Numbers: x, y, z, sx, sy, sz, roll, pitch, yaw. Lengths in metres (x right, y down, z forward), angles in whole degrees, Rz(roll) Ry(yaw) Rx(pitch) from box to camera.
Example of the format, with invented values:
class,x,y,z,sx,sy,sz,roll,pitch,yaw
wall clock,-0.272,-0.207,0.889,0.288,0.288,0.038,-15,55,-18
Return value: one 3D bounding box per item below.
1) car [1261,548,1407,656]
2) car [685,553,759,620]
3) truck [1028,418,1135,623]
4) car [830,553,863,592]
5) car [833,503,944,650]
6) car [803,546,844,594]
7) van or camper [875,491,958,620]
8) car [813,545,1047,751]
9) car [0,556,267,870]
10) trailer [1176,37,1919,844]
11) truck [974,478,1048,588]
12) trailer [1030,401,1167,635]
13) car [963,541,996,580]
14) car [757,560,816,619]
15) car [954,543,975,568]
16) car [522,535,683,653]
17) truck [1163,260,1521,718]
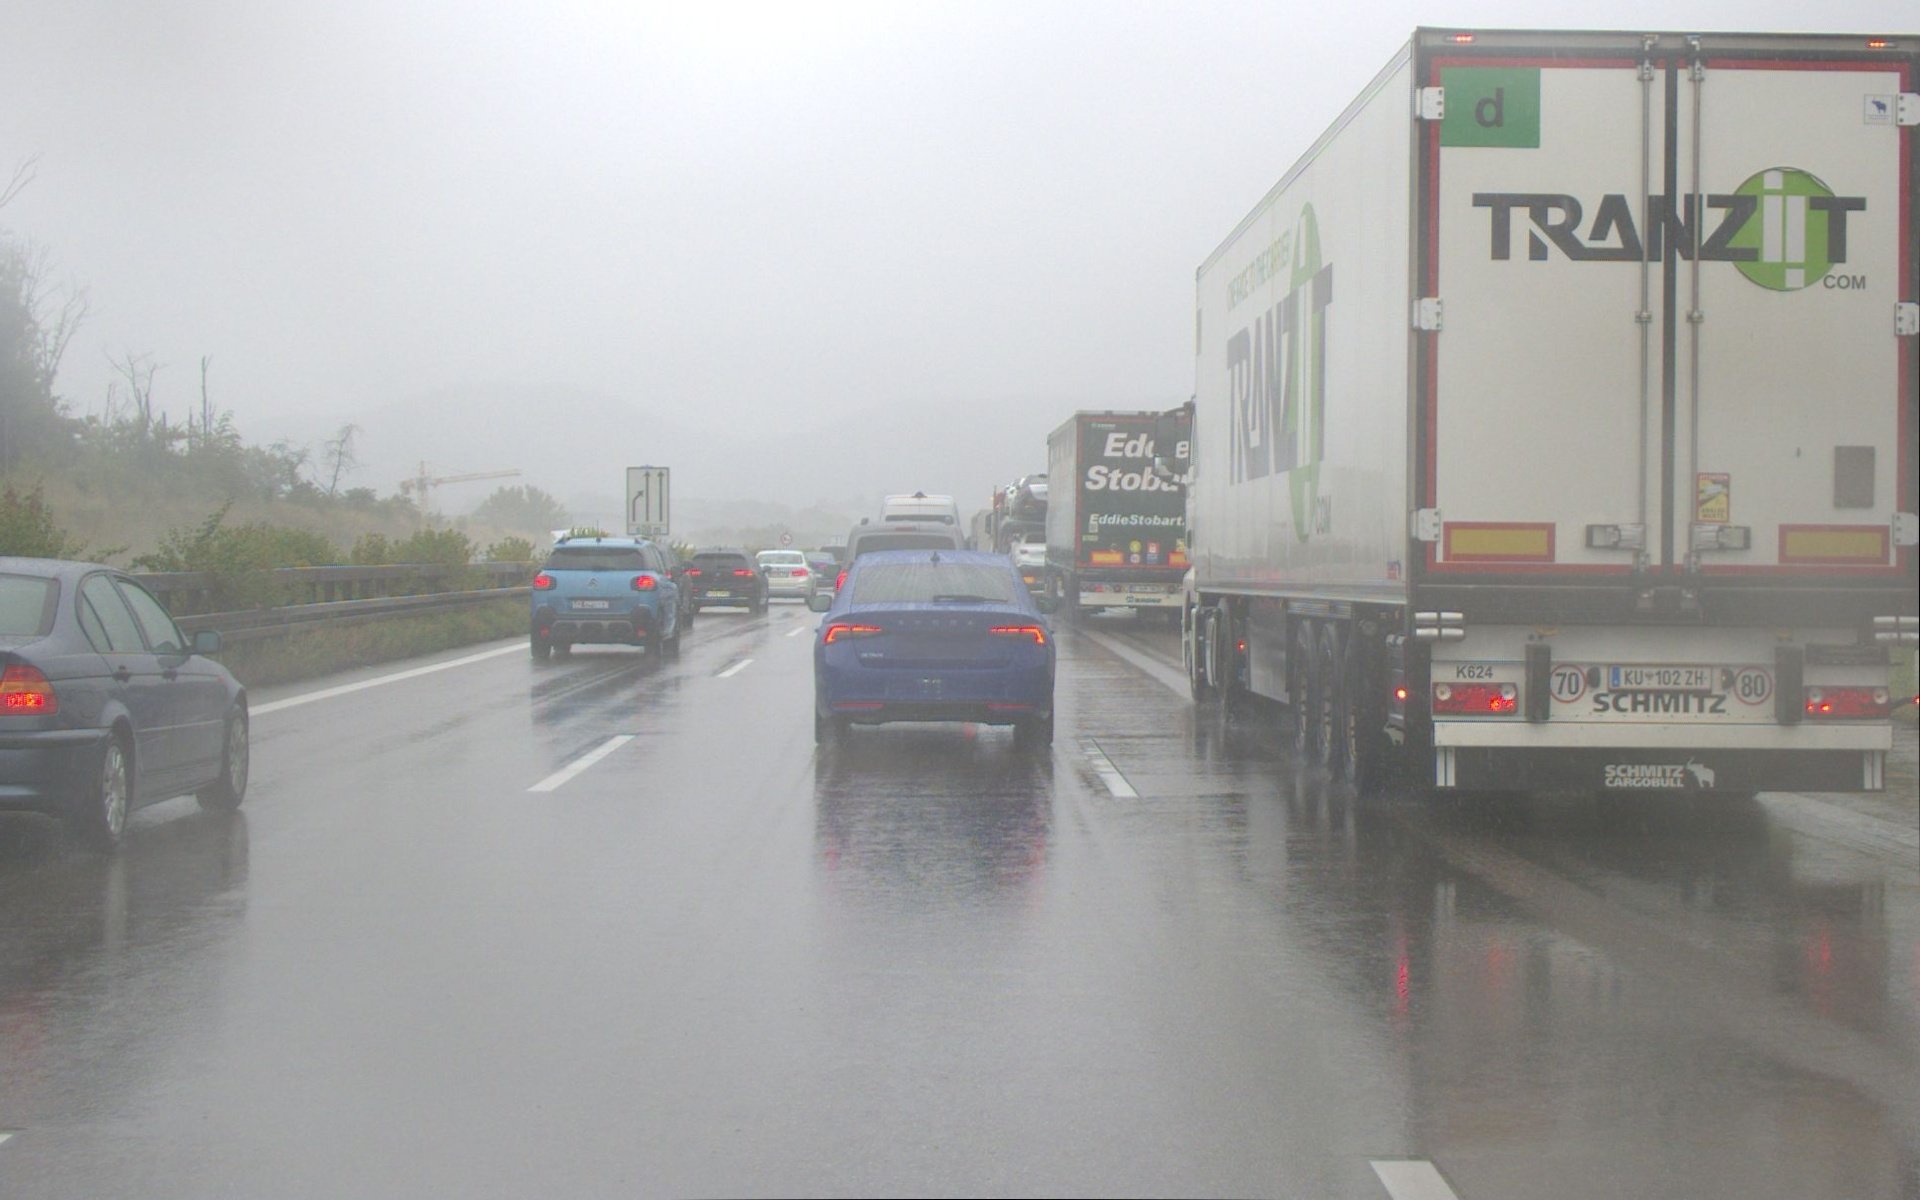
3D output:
class,x,y,z,sx,sy,sz,roll,pitch,yaw
car,4.680,-0.003,43.370,1.423,1.284,3.461,0,1,-1
car,-5.212,-0.314,75.525,1.439,1.415,3.322,0,1,-1
truck,2.530,-1.668,72.388,2.047,4.178,4.000,0,1,-1
car,-5.352,-1.297,162.084,1.448,1.777,3.409,1,1,-1
car,-0.886,-0.319,43.370,1.336,1.774,3.322,0,1,-1
car,-5.152,-1.136,130.266,1.448,1.777,3.409,1,1,-1
van or camper,-0.985,-1.017,77.551,1.797,2.797,4.768,0,1,-1
car,-0.205,0.308,26.097,1.635,1.440,4.000,0,1,0
car,-4.824,0.477,17.496,1.718,1.395,4.230,0,1,0
trailer,3.407,-0.931,24.434,2.630,3.999,14.630,0,1,-1
truck,1.597,-2.172,110.554,1.993,3.410,8.033,0,1,-2
trailer,2.585,-1.565,66.973,2.047,4.162,11.449,0,1,-1
car,0.903,-1.832,161.055,1.448,1.777,3.409,1,1,-1
car,-4.612,-0.299,91.911,1.439,1.528,3.322,0,1,-1
car,0.350,-3.186,248.992,1.448,1.777,3.409,1,1,-1
car,-4.777,-0.107,46.353,1.721,1.518,4.000,0,1,0
truck,3.335,-0.973,31.153,2.630,3.814,4.791,0,1,-1
